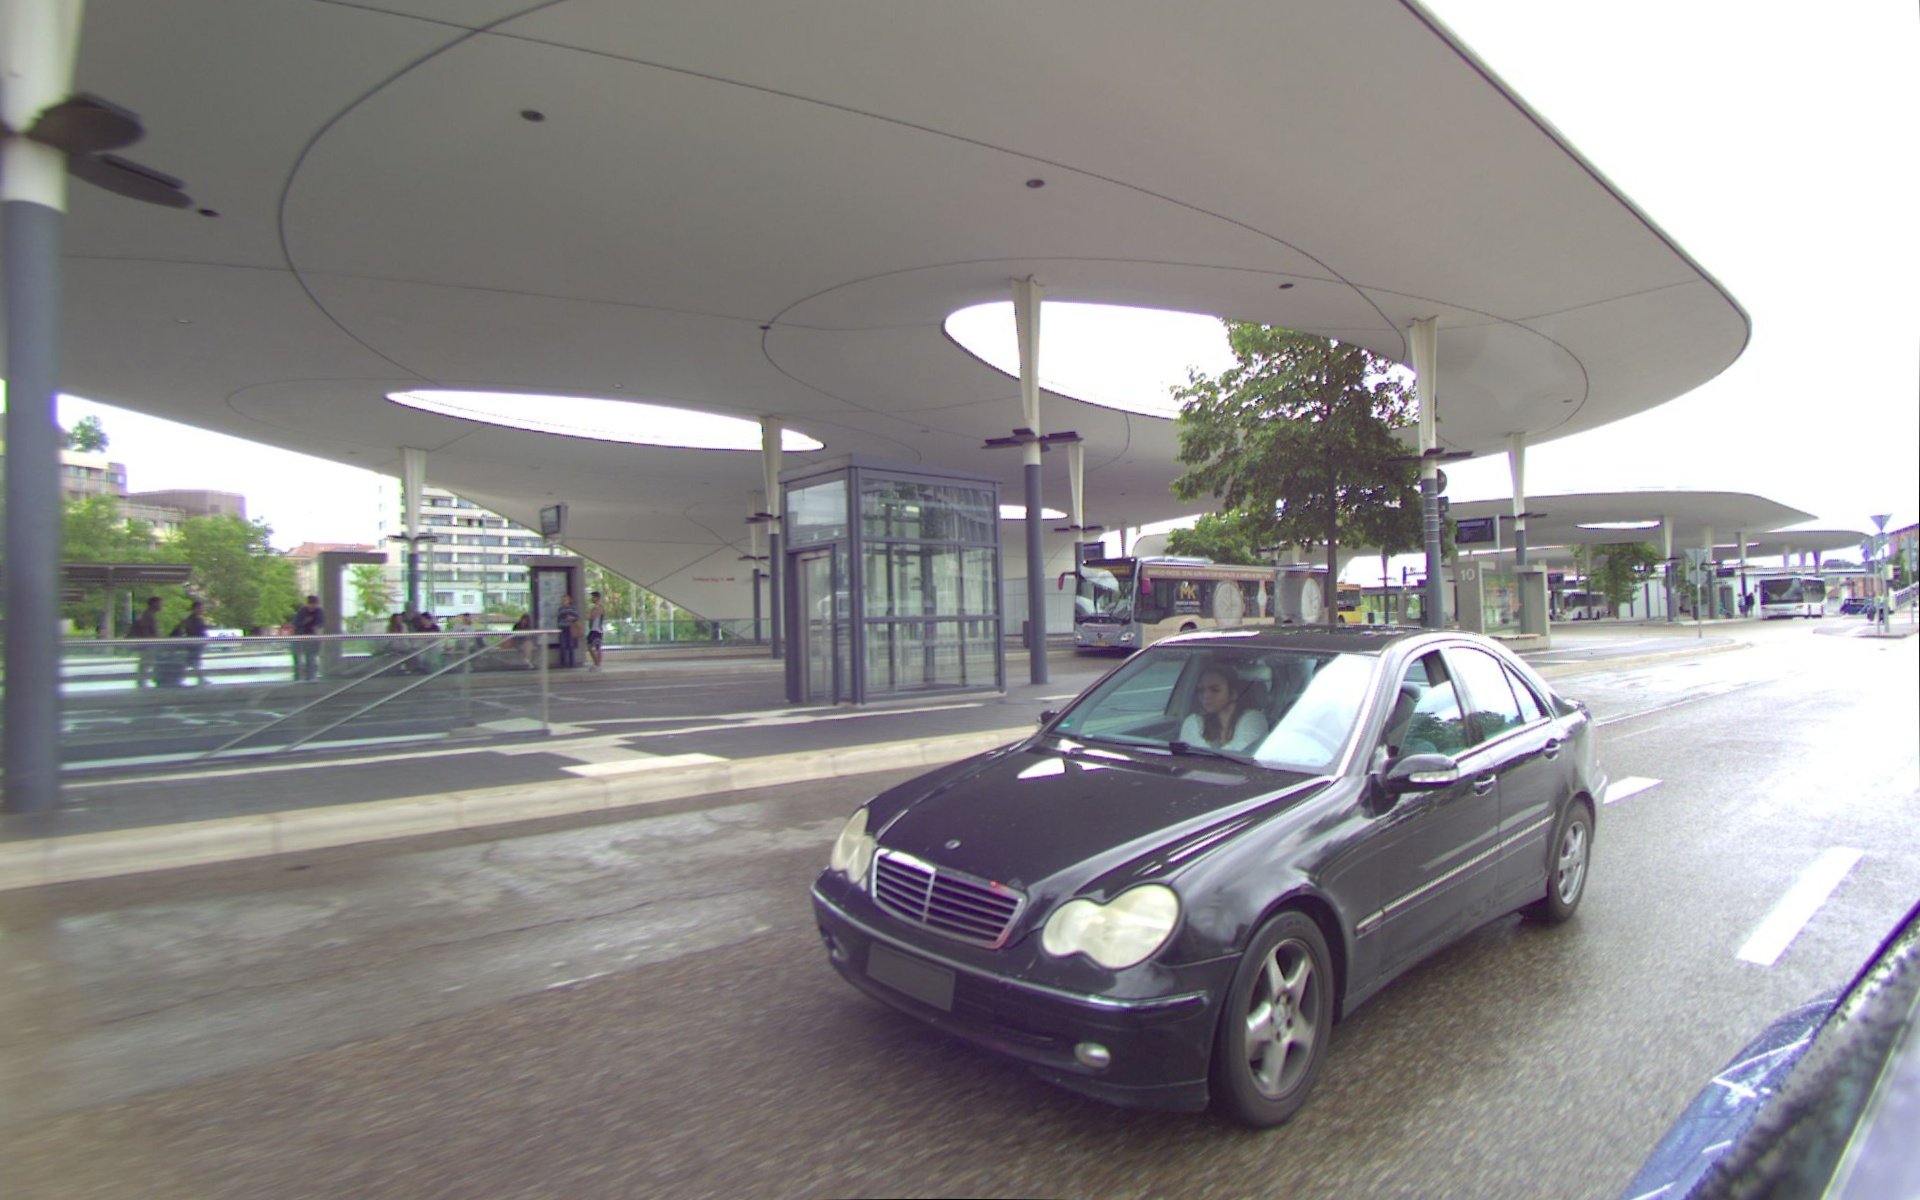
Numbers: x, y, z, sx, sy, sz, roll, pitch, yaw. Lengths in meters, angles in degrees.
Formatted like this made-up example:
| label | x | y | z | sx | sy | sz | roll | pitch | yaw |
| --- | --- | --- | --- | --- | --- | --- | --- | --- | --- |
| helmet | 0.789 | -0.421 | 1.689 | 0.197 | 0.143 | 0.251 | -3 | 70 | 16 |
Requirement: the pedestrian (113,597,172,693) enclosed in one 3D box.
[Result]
| label | x | y | z | sx | sy | sz | roll | pitch | yaw |
| --- | --- | --- | --- | --- | --- | --- | --- | --- | --- |
| pedestrian | -14.185 | 0.761 | 17.563 | 0.597 | 1.601 | 0.701 | -1 | -1 | 39 |

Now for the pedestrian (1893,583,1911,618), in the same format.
| label | x | y | z | sx | sy | sz | roll | pitch | yaw |
| --- | --- | --- | --- | --- | --- | --- | --- | --- | --- |
| pedestrian | 46.502 | 0.039 | 49.977 | 0.571 | 1.691 | 0.523 | -4 | 0 | -42 |

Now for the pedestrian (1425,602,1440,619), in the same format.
| label | x | y | z | sx | sy | sz | roll | pitch | yaw |
| --- | --- | --- | --- | --- | --- | --- | --- | --- | --- |
| pedestrian | 39.658 | 0.859 | 84.973 | 0.786 | 1.341 | 0.711 | -5 | -2 | -34 |

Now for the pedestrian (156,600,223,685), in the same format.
| label | x | y | z | sx | sy | sz | roll | pitch | yaw |
| --- | --- | --- | --- | --- | --- | --- | --- | --- | --- |
| pedestrian | -15.263 | 0.827 | 20.062 | 0.573 | 1.598 | 0.769 | -6 | -2 | 16 |

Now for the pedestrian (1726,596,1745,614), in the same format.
| label | x | y | z | sx | sy | sz | roll | pitch | yaw |
| --- | --- | --- | --- | --- | --- | --- | --- | --- | --- |
| pedestrian | 55.868 | 0.389 | 72.913 | 0.943 | 1.271 | 0.643 | 1 | -1 | 25 |

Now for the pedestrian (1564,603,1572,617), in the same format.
| label | x | y | z | sx | sy | sz | roll | pitch | yaw |
| --- | --- | --- | --- | --- | --- | --- | --- | --- | --- |
| pedestrian | 47.265 | 0.765 | 78.619 | 0.345 | 1.095 | 0.392 | -1 | -1 | 0 |

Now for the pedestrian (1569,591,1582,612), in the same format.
| label | x | y | z | sx | sy | sz | roll | pitch | yaw |
| --- | --- | --- | --- | --- | --- | --- | --- | --- | --- |
| pedestrian | 48.948 | 0.136 | 80.525 | 0.632 | 1.675 | 0.638 | -1 | -1 | 8 |

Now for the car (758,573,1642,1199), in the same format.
| label | x | y | z | sx | sy | sz | roll | pitch | yaw |
| --- | --- | --- | --- | --- | --- | --- | --- | --- | --- |
| car | 1.411 | 0.727 | 4.407 | 4.230 | 1.481 | 1.699 | 2 | -1 | -43 |

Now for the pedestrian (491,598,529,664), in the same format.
| label | x | y | z | sx | sy | sz | roll | pitch | yaw |
| --- | --- | --- | --- | --- | --- | --- | --- | --- | --- |
| pedestrian | -10.189 | 0.694 | 22.912 | 0.625 | 1.462 | 0.560 | -1 | -1 | -45 |

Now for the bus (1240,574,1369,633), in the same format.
| label | x | y | z | sx | sy | sz | roll | pitch | yaw |
| --- | --- | --- | --- | --- | --- | --- | --- | --- | --- |
| bus | 22.852 | 0.145 | 66.560 | 11.943 | 3.298 | 2.790 | -3 | 0 | -44 |

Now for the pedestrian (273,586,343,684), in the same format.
| label | x | y | z | sx | sy | sz | roll | pitch | yaw |
| --- | --- | --- | --- | --- | --- | --- | --- | --- | --- |
| pedestrian | -12.113 | 0.628 | 18.803 | 0.703 | 1.728 | 0.762 | 4 | 1 | 20 |

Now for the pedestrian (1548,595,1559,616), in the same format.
| label | x | y | z | sx | sy | sz | roll | pitch | yaw |
| --- | --- | --- | --- | --- | --- | --- | --- | --- | --- |
| pedestrian | 45.297 | 0.422 | 77.201 | 0.588 | 1.610 | 0.667 | -1 | -1 | 44 |

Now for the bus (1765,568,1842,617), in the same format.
| label | x | y | z | sx | sy | sz | roll | pitch | yaw |
| --- | --- | --- | --- | --- | --- | --- | --- | --- | --- |
| bus | 64.475 | -0.574 | 77.231 | 12.213 | 3.404 | 2.849 | 0 | 2 | -42 |

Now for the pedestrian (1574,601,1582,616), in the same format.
| label | x | y | z | sx | sy | sz | roll | pitch | yaw |
| --- | --- | --- | --- | --- | --- | --- | --- | --- | --- |
| pedestrian | 48.005 | 0.655 | 78.637 | 0.357 | 1.160 | 0.396 | -1 | -1 | 0 |

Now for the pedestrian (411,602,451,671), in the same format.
| label | x | y | z | sx | sy | sz | roll | pitch | yaw |
| --- | --- | --- | --- | --- | --- | --- | --- | --- | --- |
| pedestrian | -11.453 | 0.786 | 21.913 | 0.604 | 1.462 | 0.560 | -1 | -1 | -45 |

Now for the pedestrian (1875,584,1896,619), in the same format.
| label | x | y | z | sx | sy | sz | roll | pitch | yaw |
| --- | --- | --- | --- | --- | --- | --- | --- | --- | --- |
| pedestrian | 46.045 | 0.083 | 50.372 | 0.571 | 1.691 | 0.589 | -6 | 0 | -42 |

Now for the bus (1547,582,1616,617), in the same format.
| label | x | y | z | sx | sy | sz | roll | pitch | yaw |
| --- | --- | --- | --- | --- | --- | --- | --- | --- | --- |
| bus | 64.083 | -0.080 | 104.198 | 11.935 | 3.299 | 2.791 | -1 | -1 | -42 |

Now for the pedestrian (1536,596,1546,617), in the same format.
| label | x | y | z | sx | sy | sz | roll | pitch | yaw |
| --- | --- | --- | --- | --- | --- | --- | --- | --- | --- |
| pedestrian | 43.718 | 0.476 | 76.132 | 0.513 | 1.521 | 0.381 | -1 | -1 | 9 |

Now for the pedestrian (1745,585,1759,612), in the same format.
| label | x | y | z | sx | sy | sz | roll | pitch | yaw |
| --- | --- | --- | --- | --- | --- | --- | --- | --- | --- |
| pedestrian | 56.815 | -0.078 | 72.606 | 0.636 | 1.911 | 0.586 | 2 | -1 | -32 |

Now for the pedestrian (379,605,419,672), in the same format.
| label | x | y | z | sx | sy | sz | roll | pitch | yaw |
| --- | --- | --- | --- | --- | --- | --- | --- | --- | --- |
| pedestrian | -11.929 | 0.805 | 21.534 | 0.604 | 1.378 | 0.560 | -1 | -1 | -45 |

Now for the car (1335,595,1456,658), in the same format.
| label | x | y | z | sx | sy | sz | roll | pitch | yaw |
| --- | --- | --- | --- | --- | --- | --- | --- | --- | --- |
| car | 10.890 | 0.640 | 25.256 | 3.183 | 1.472 | 1.648 | 0 | -2 | -44 |

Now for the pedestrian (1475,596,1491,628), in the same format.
| label | x | y | z | sx | sy | sz | roll | pitch | yaw |
| --- | --- | --- | --- | --- | --- | --- | --- | --- | --- |
| pedestrian | 28.777 | 0.664 | 55.694 | 0.711 | 1.705 | 1.014 | 0 | 0 | 22 |

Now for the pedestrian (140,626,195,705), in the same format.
| label | x | y | z | sx | sy | sz | roll | pitch | yaw |
| --- | --- | --- | --- | --- | --- | --- | --- | --- | --- |
| pedestrian | -14.832 | 1.218 | 18.951 | 0.550 | 1.408 | 0.475 | -6 | -2 | -6 |

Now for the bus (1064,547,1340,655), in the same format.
| label | x | y | z | sx | sy | sz | roll | pitch | yaw |
| --- | --- | --- | --- | --- | --- | --- | --- | --- | --- |
| bus | 8.481 | -0.015 | 33.803 | 11.881 | 3.082 | 2.725 | -1 | 0 | -42 |

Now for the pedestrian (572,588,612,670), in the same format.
| label | x | y | z | sx | sy | sz | roll | pitch | yaw |
| --- | --- | --- | --- | --- | --- | --- | --- | --- | --- |
| pedestrian | -7.798 | 0.607 | 21.459 | 0.559 | 1.714 | 0.604 | -3 | -3 | 42 |

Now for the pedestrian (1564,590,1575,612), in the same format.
| label | x | y | z | sx | sy | sz | roll | pitch | yaw |
| --- | --- | --- | --- | --- | --- | --- | --- | --- | --- |
| pedestrian | 48.077 | 0.077 | 79.859 | 0.547 | 1.675 | 0.570 | 0 | -1 | -36 |

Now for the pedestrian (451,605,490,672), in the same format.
| label | x | y | z | sx | sy | sz | roll | pitch | yaw |
| --- | --- | --- | --- | --- | --- | --- | --- | --- | --- |
| pedestrian | -10.888 | 0.850 | 22.503 | 0.604 | 1.462 | 0.560 | -1 | -1 | -45 |
